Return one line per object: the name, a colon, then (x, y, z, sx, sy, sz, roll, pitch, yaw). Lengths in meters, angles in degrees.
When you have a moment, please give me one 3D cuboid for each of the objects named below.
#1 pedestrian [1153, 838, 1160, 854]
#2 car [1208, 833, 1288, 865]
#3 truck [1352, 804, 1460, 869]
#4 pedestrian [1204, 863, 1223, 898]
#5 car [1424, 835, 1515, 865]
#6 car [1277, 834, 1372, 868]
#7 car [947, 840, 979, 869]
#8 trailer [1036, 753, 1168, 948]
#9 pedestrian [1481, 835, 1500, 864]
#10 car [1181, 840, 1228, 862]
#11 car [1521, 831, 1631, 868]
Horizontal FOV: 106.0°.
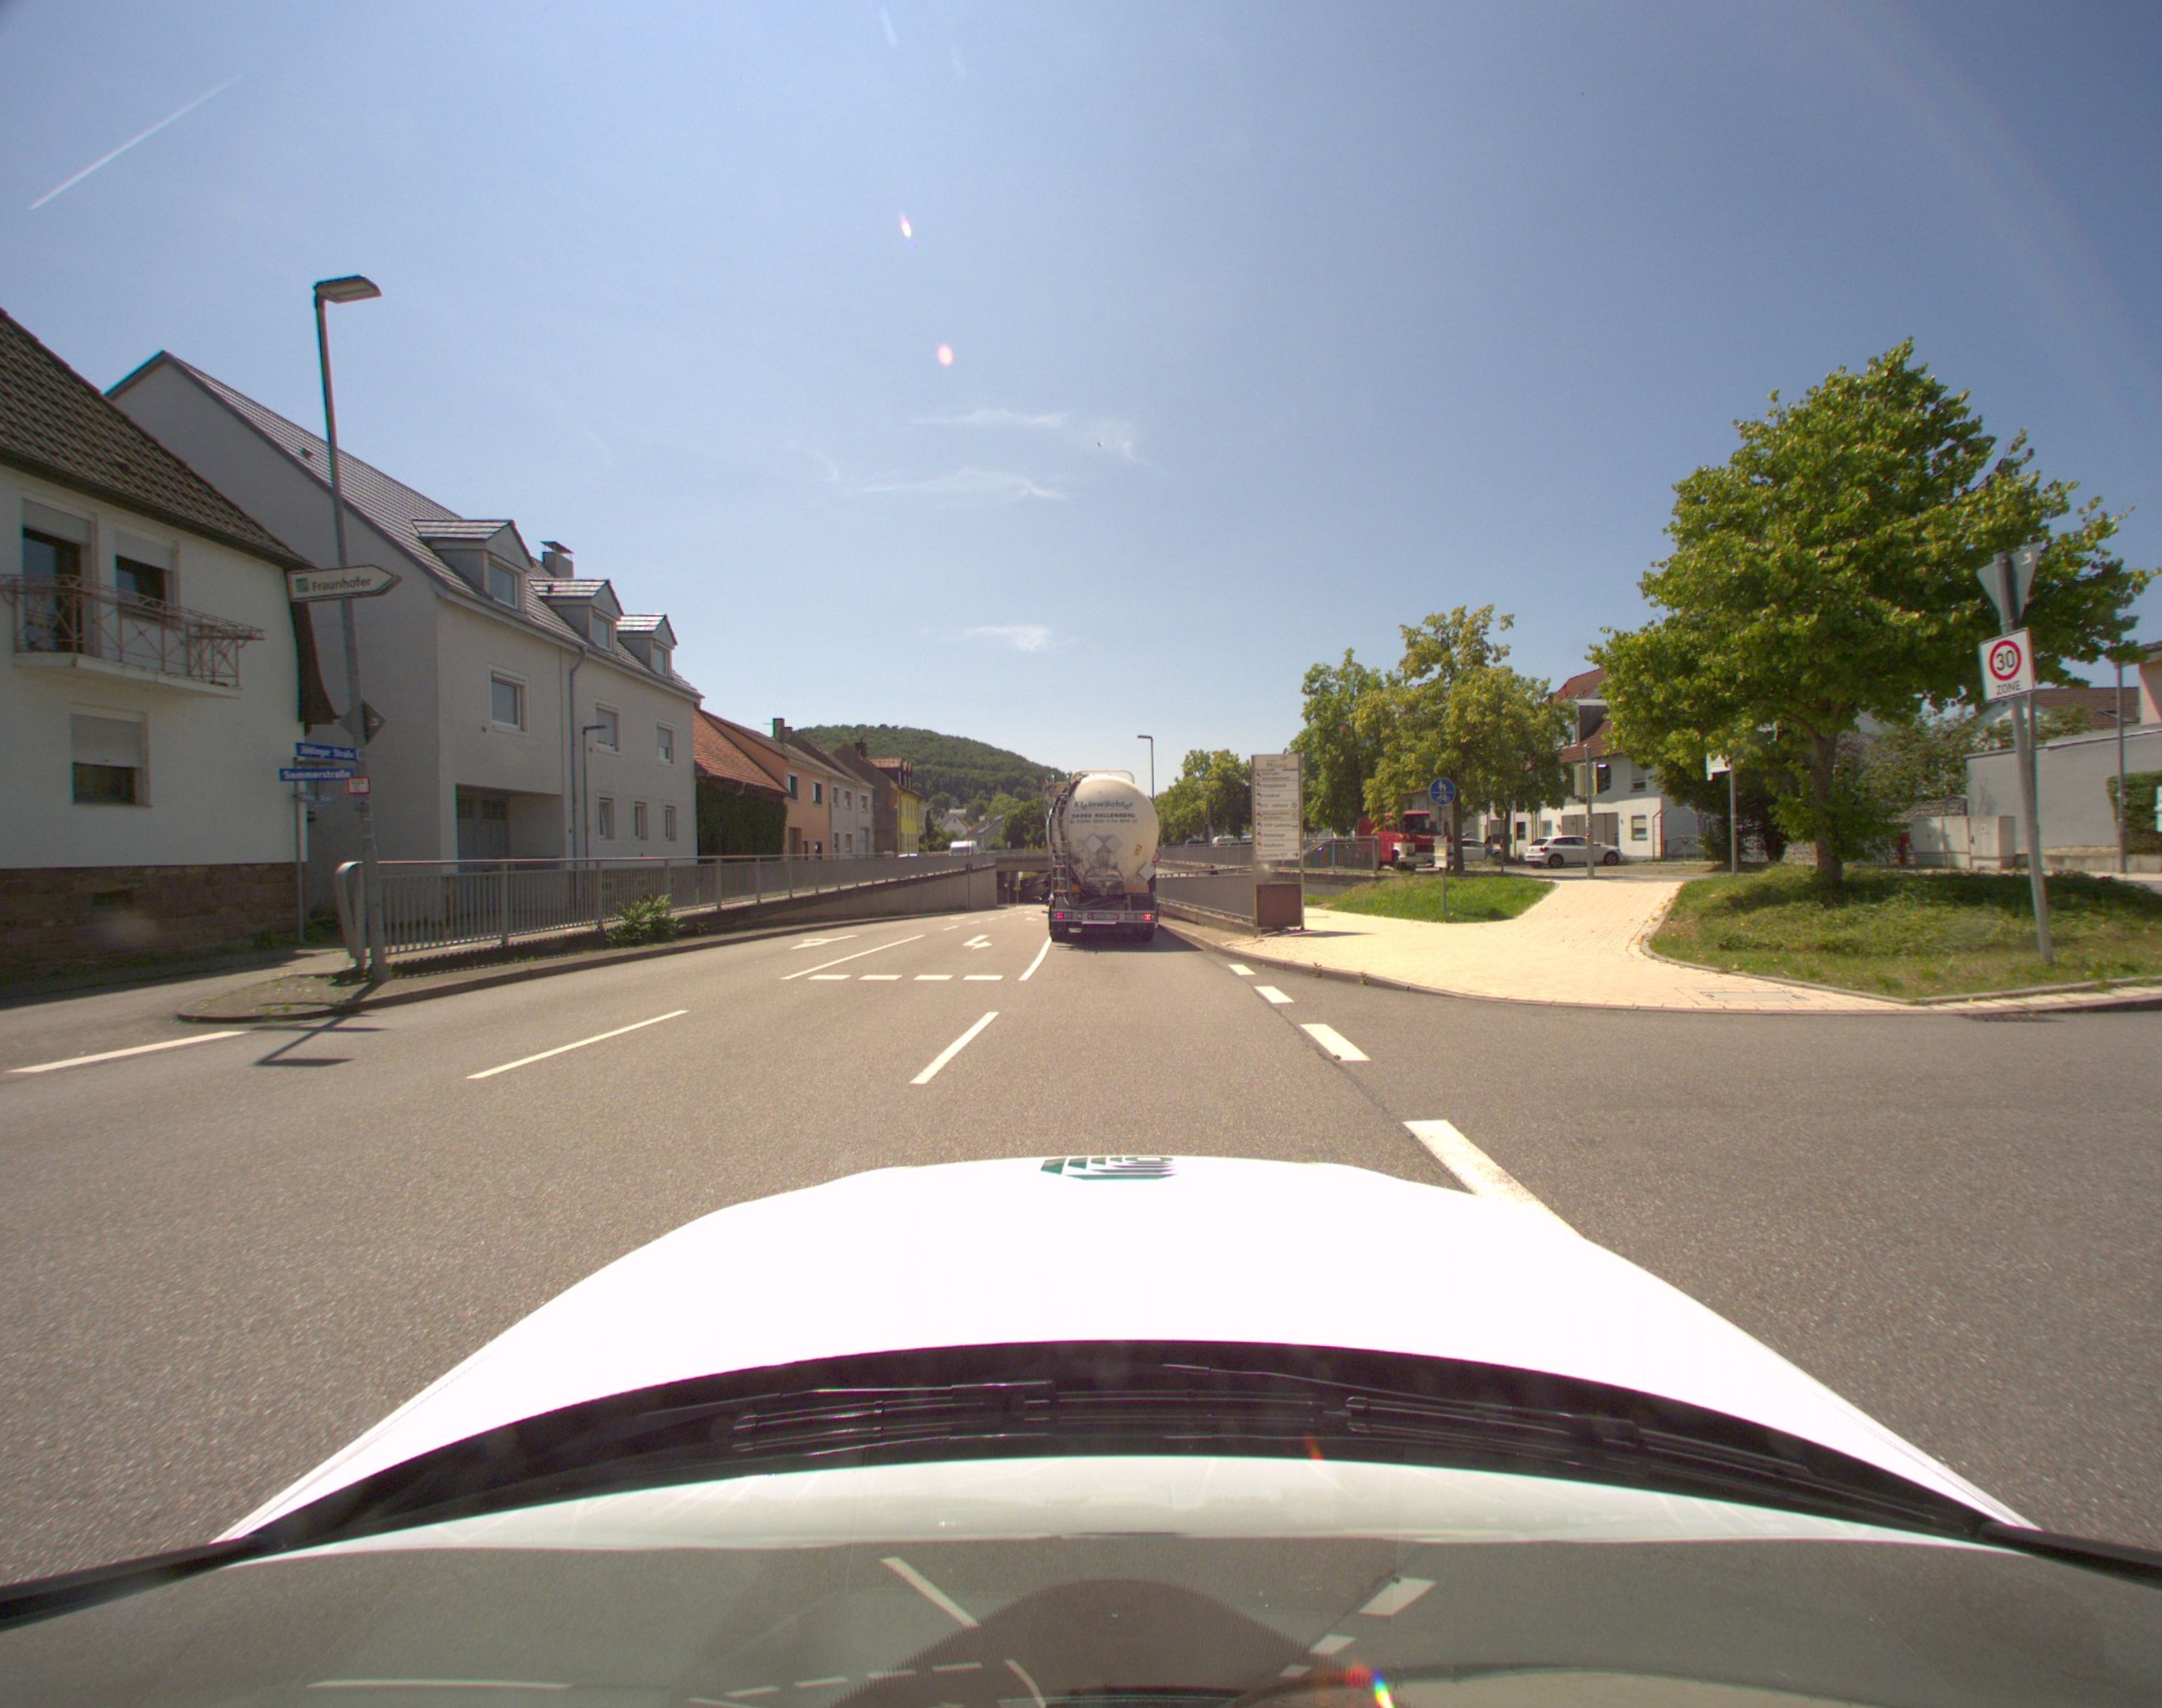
pedestrian: (8.176, -0.879, 88.685, 0.670, 1.779, 0.594, -1, -1, 1)
car: (11.423, -0.352, 55.878, 5.095, 2.063, 1.989, -1, 0, 0)
truck: (12.704, -0.632, 32.246, 2.126, 2.334, 5.257, -1, 0, -1)
pedestrian: (6.840, 1.353, 42.042, 0.833, 1.782, 0.788, -1, -3, 0)
car: (22.652, -0.237, 47.576, 4.392, 1.490, 1.757, -3, 0, 0)
car: (11.524, -0.141, 38.715, 3.973, 1.498, 1.749, -1, 0, 0)
car: (-10.570, 0.031, 73.193, 2.059, 2.536, 5.659, 1, 0, -1)
trailer: (0.592, 0.173, 23.661, 2.725, 4.065, 13.313, 0, -2, 1)
pedestrian: (22.665, -0.252, 45.090, 0.745, 1.511, 0.607, -4, 0, -37)
car: (10.996, -0.274, 72.789, 3.892, 1.885, 1.686, -1, 0, 0)
car: (22.579, -0.191, 37.240, 3.925, 1.478, 1.757, -3, 0, 0)
